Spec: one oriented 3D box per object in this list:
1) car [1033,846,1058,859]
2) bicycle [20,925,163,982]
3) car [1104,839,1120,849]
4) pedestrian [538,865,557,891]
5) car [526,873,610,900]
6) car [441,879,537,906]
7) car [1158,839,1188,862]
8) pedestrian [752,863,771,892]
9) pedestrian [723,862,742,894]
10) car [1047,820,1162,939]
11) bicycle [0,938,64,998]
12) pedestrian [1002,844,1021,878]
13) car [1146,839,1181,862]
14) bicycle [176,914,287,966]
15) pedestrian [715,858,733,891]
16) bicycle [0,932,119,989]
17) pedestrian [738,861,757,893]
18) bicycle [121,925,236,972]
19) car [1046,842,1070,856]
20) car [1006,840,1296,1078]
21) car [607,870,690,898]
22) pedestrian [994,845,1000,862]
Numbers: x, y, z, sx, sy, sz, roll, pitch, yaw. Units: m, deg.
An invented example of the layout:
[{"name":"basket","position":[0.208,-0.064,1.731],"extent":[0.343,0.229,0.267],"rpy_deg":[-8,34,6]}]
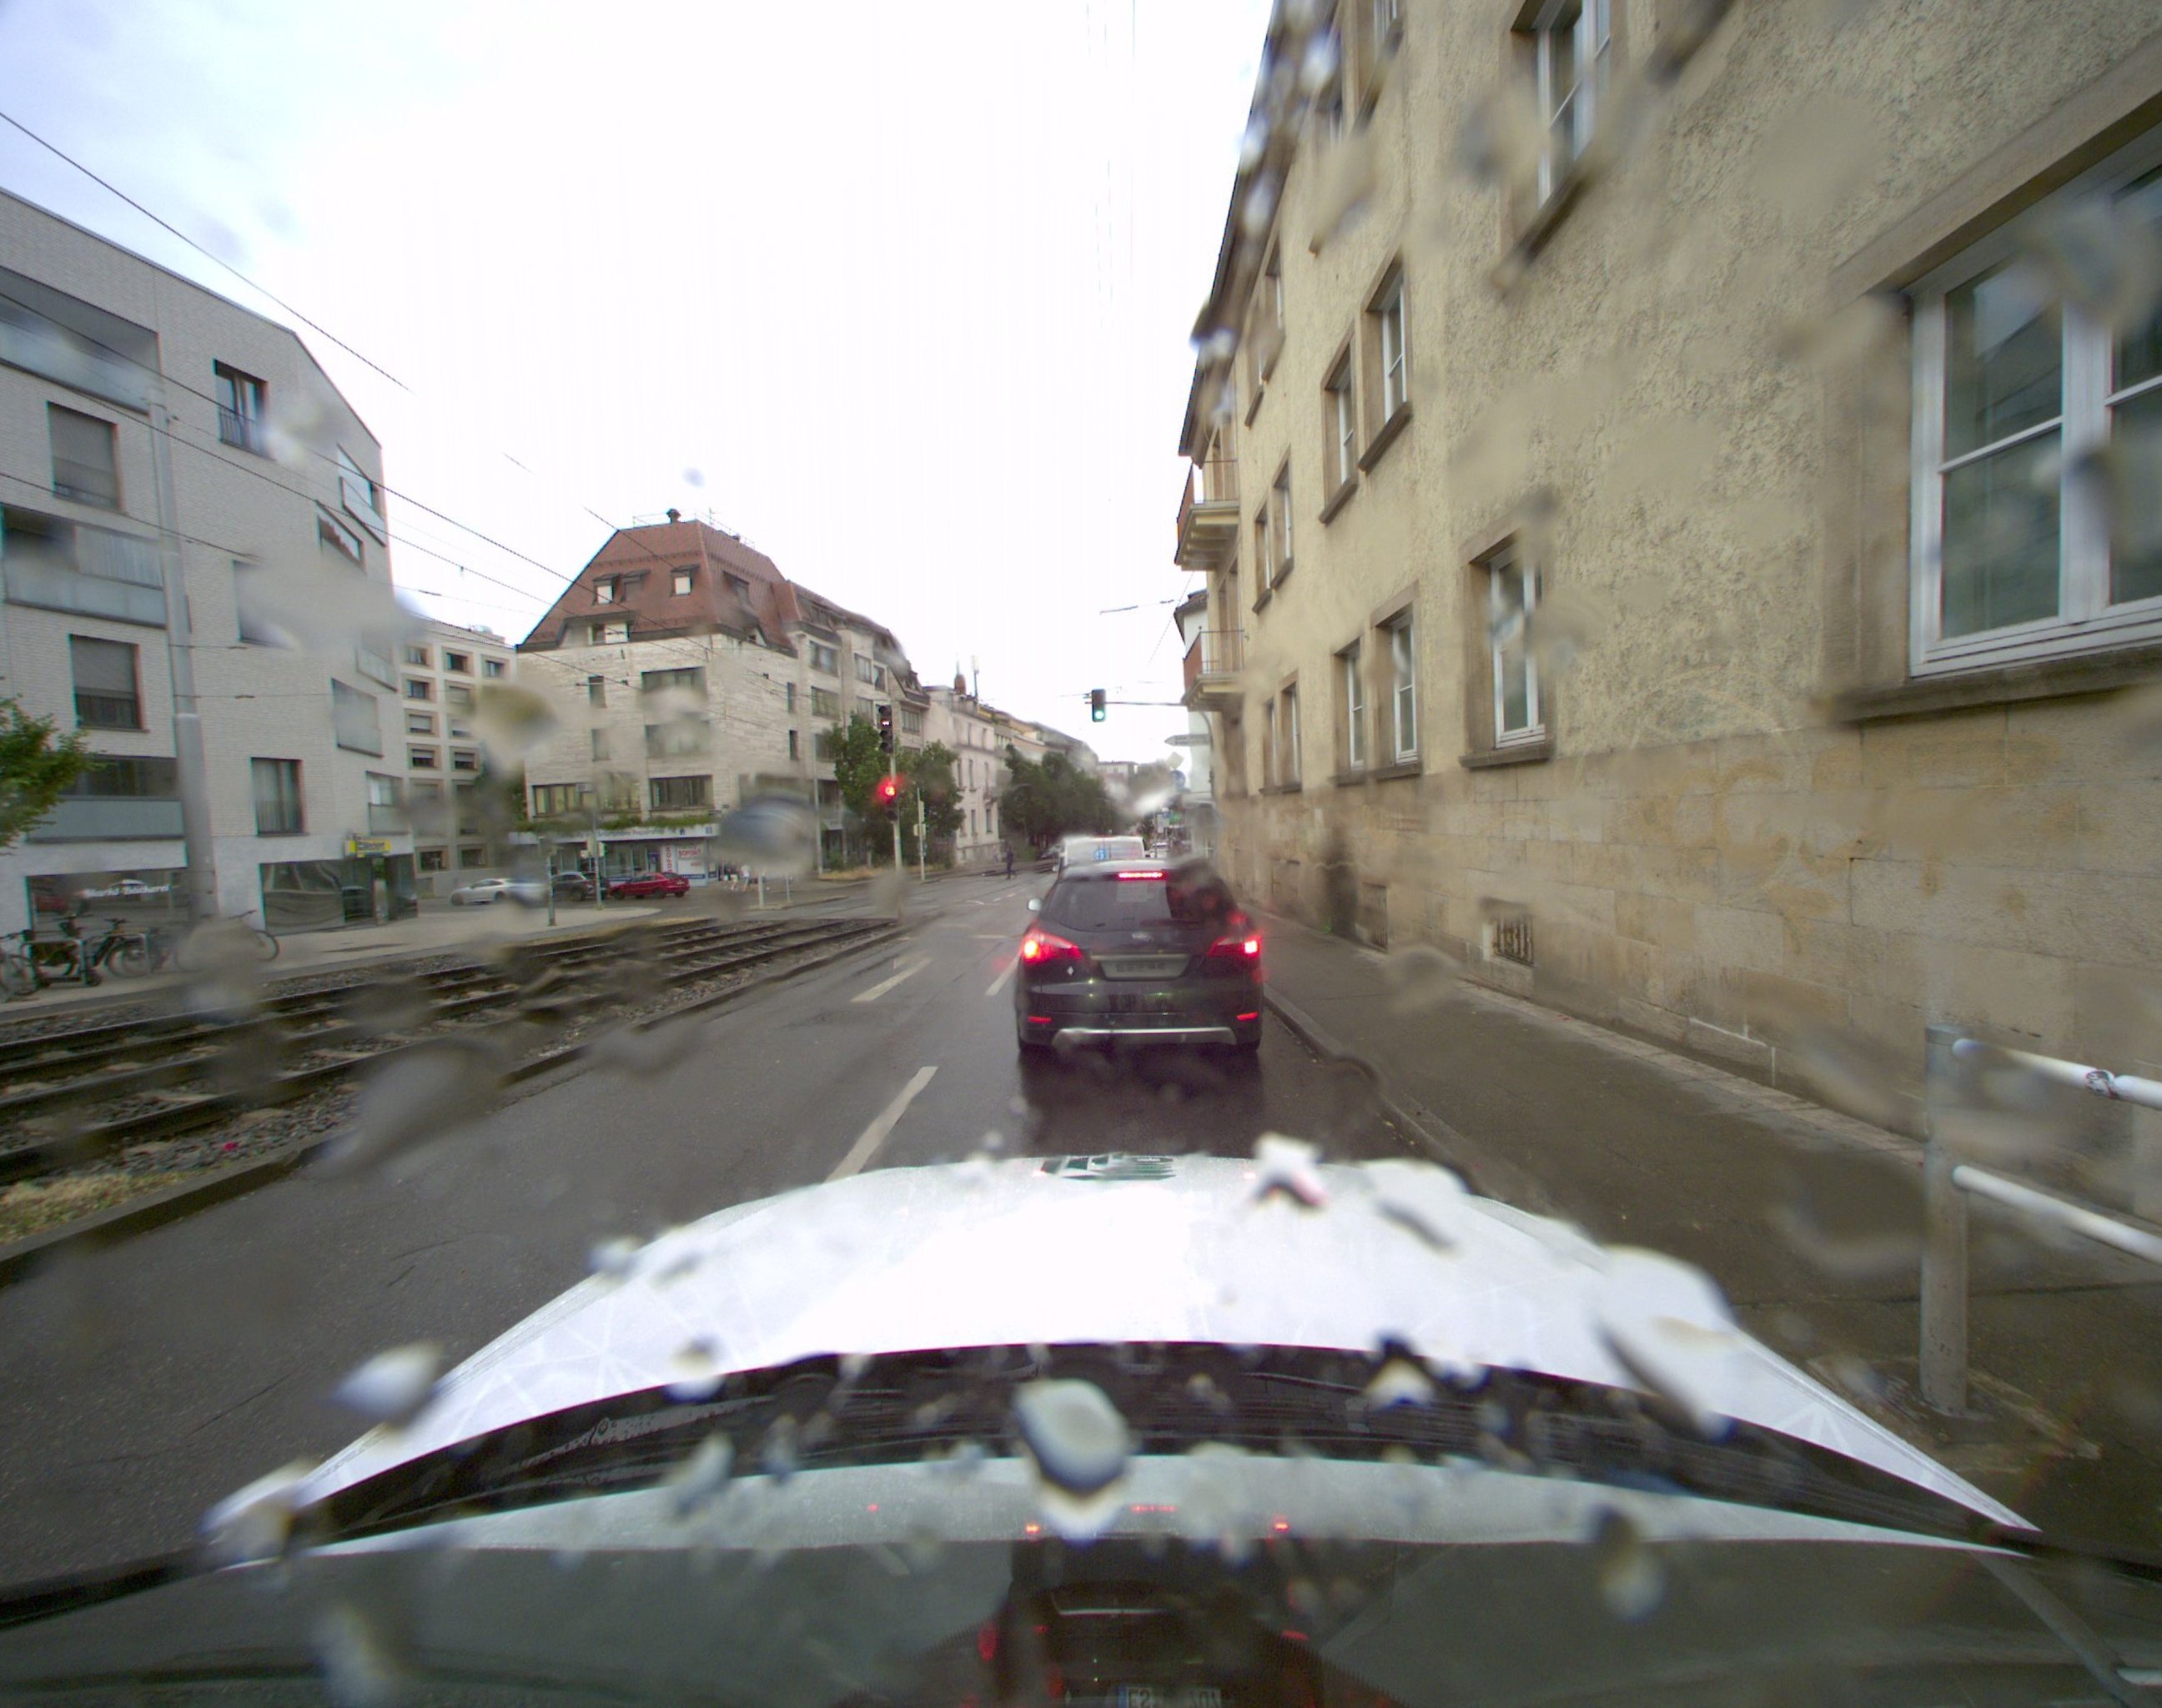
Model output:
[{"name":"car","position":[-4.097,-0.155,94.041],"extent":[1.682,1.377,4.736],"rpy_deg":[-2,-1,12]},{"name":"bicycle","position":[-18.453,1.844,15.216],"extent":[1.787,0.917,0.385],"rpy_deg":[-1,0,-16]},{"name":"car","position":[5.378,-1.653,139.918],"extent":[1.843,1.637,4.952],"rpy_deg":[-2,0,12]},{"name":"pedestrian","position":[-31.779,1.408,48.491],"extent":[0.677,1.549,0.651],"rpy_deg":[0,-1,10]},{"name":"car","position":[-27.785,1.771,44.132],"extent":[3.670,1.318,1.599],"rpy_deg":[-2,-1,11]},{"name":"car","position":[-32.623,2.103,44.910],"extent":[4.458,1.318,1.598],"rpy_deg":[-2,-1,11]},{"name":"car","position":[7.159,-0.289,63.049],"extent":[1.833,1.632,4.602],"rpy_deg":[-2,0,12]},{"name":"pedestrian","position":[-17.369,1.255,44.288],"extent":[0.643,1.549,0.686],"rpy_deg":[0,-1,10]},{"name":"pedestrian","position":[-19.032,1.292,44.490],"extent":[0.643,1.749,0.686],"rpy_deg":[0,-1,10]},{"name":"car","position":[0.446,0.457,16.550],"extent":[1.981,2.060,4.645],"rpy_deg":[-1,0,1]},{"name":"bicycle","position":[-17.725,1.868,13.242],"extent":[1.779,0.918,0.387],"rpy_deg":[-2,0,-3]},{"name":"pedestrian","position":[-3.848,0.379,45.176],"extent":[0.926,1.830,0.960],"rpy_deg":[0,-1,4]},{"name":"car","position":[5.680,-0.252,55.896],"extent":[1.789,1.455,4.602],"rpy_deg":[-3,0,12]},{"name":"bicycle","position":[-17.976,1.815,17.244],"extent":[1.779,0.980,0.440],"rpy_deg":[-2,0,-3]},{"name":"pedestrian","position":[-19.959,1.122,45.505],"extent":[0.643,1.842,0.686],"rpy_deg":[0,-1,10]},{"name":"bicycle","position":[-17.904,1.841,14.117],"extent":[1.782,0.918,0.386],"rpy_deg":[0,-1,-8]},{"name":"pedestrian","position":[-18.147,1.241,44.306],"extent":[0.643,1.724,0.686],"rpy_deg":[0,-1,10]},{"name":"bicycle","position":[-17.731,1.847,16.017],"extent":[1.778,0.876,0.387],"rpy_deg":[0,-1,-1]},{"name":"car","position":[-2.811,-0.593,99.914],"extent":[1.843,1.548,4.736],"rpy_deg":[-2,0,12]},{"name":"car","position":[0.502,0.680,7.210],"extent":[1.836,1.507,4.001],"rpy_deg":[-1,0,2]},{"name":"car","position":[-22.959,1.583,43.269],"extent":[3.667,1.318,1.600],"rpy_deg":[-2,-1,13]},{"name":"pedestrian","position":[-8.300,-0.027,80.383],"extent":[0.466,1.652,0.582],"rpy_deg":[0,-1,0]}]
